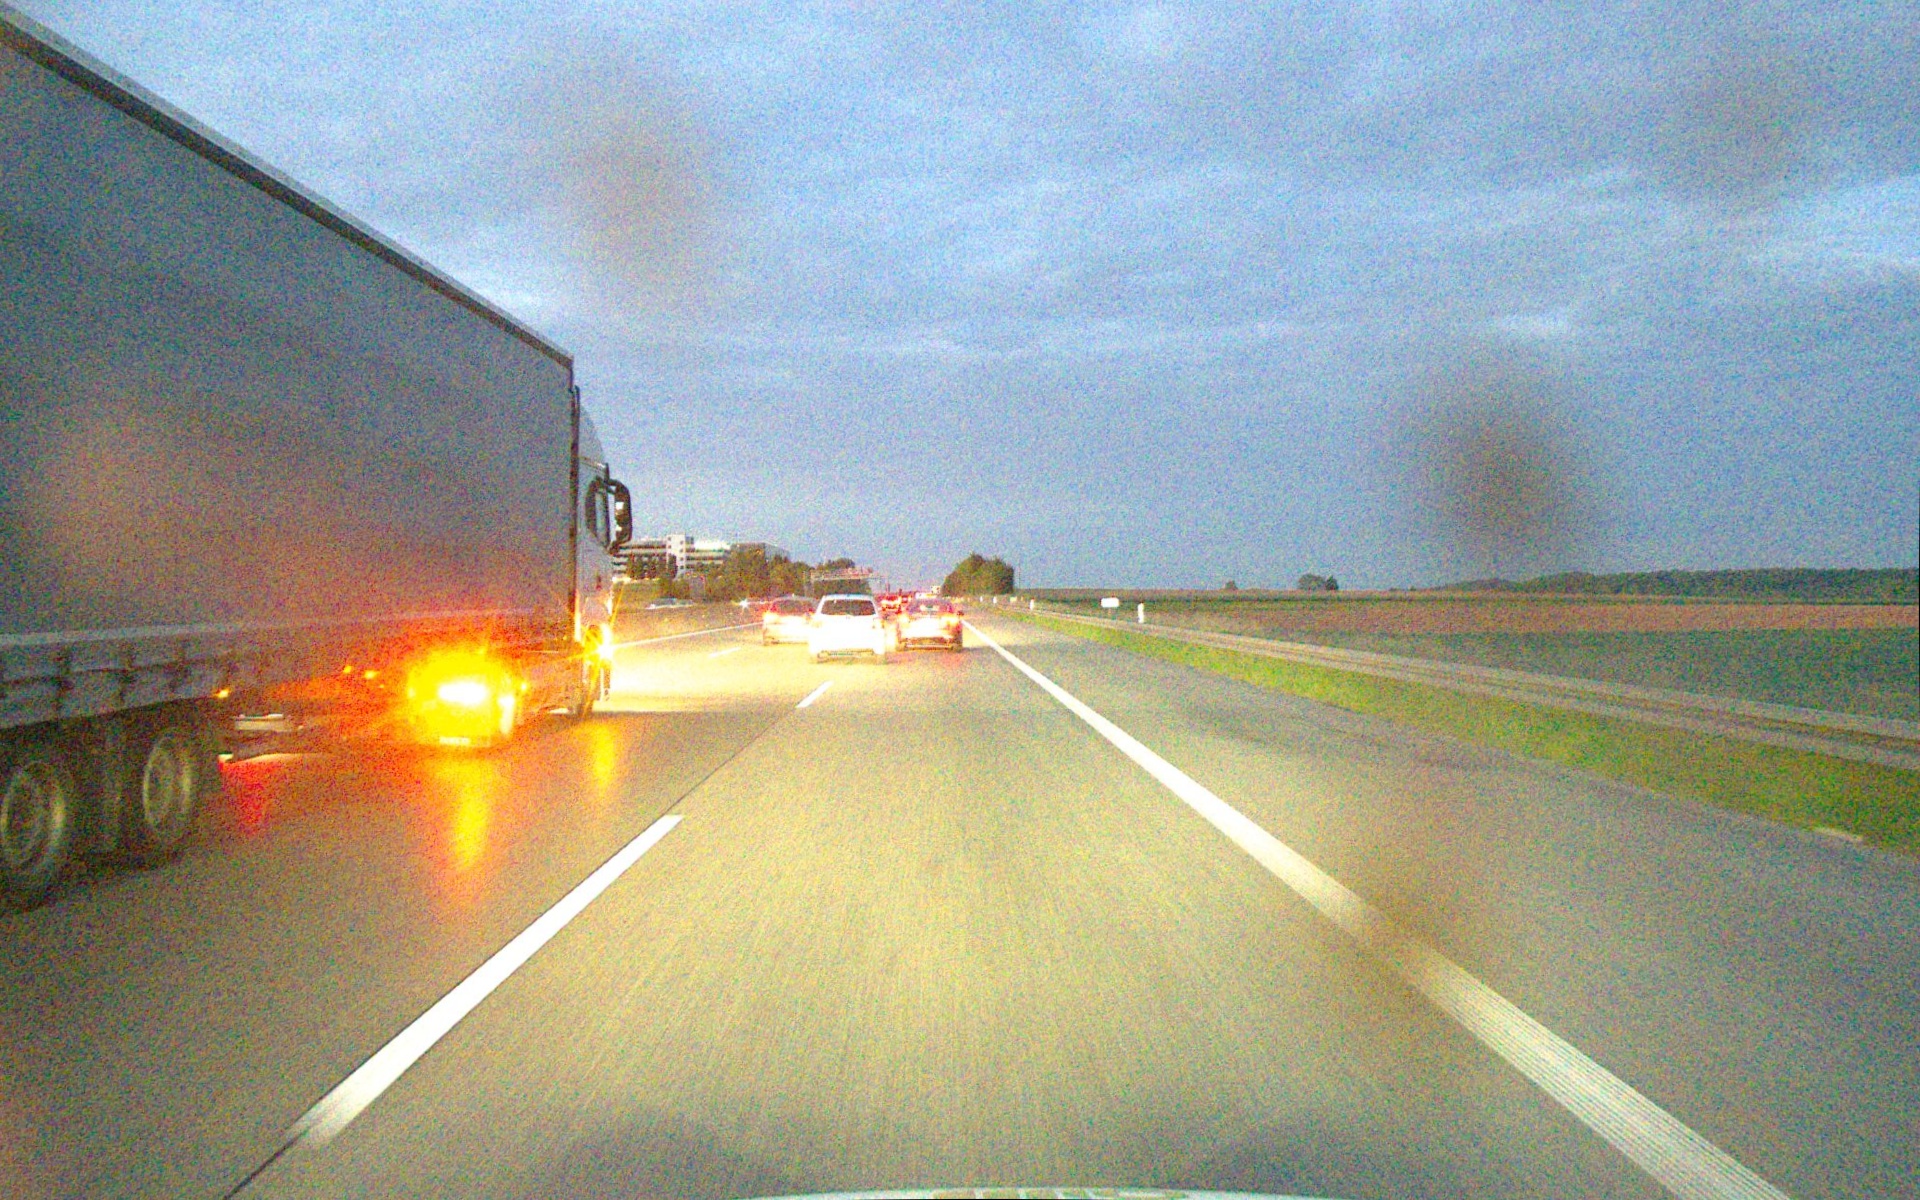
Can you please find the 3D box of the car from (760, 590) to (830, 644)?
[{"bbox_3d":[-4.856,0.505,49.235,1.688,1.497,4.724,1,0,-2],"label":"car"}]

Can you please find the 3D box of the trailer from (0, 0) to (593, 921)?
[{"bbox_3d":[-5.456,-0.686,11.245,2.737,4.157,14.523,0,0,0],"label":"trailer"}]

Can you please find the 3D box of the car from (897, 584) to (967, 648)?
[{"bbox_3d":[-0.790,0.439,46.074,1.842,1.672,3.999,1,0,-1],"label":"car"}]

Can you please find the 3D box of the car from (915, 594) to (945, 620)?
[{"bbox_3d":[-1.887,0.448,103.032,1.842,1.579,3.998,1,0,-2],"label":"car"}]

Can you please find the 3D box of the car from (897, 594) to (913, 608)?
[{"bbox_3d":[-7.870,0.099,235.780,2.154,1.912,3.999,1,-1,-1],"label":"car"}]

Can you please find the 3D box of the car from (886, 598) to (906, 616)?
[{"bbox_3d":[-5.934,0.629,153.529,1.842,1.579,3.998,1,0,-2],"label":"car"}]

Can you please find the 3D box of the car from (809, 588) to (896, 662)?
[{"bbox_3d":[-2.392,0.546,37.629,1.709,1.551,4.413,1,0,-1],"label":"car"}]

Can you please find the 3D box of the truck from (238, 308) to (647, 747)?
[{"bbox_3d":[-5.490,-0.667,18.762,2.721,4.164,6.102,0,-1,0],"label":"truck"}]
